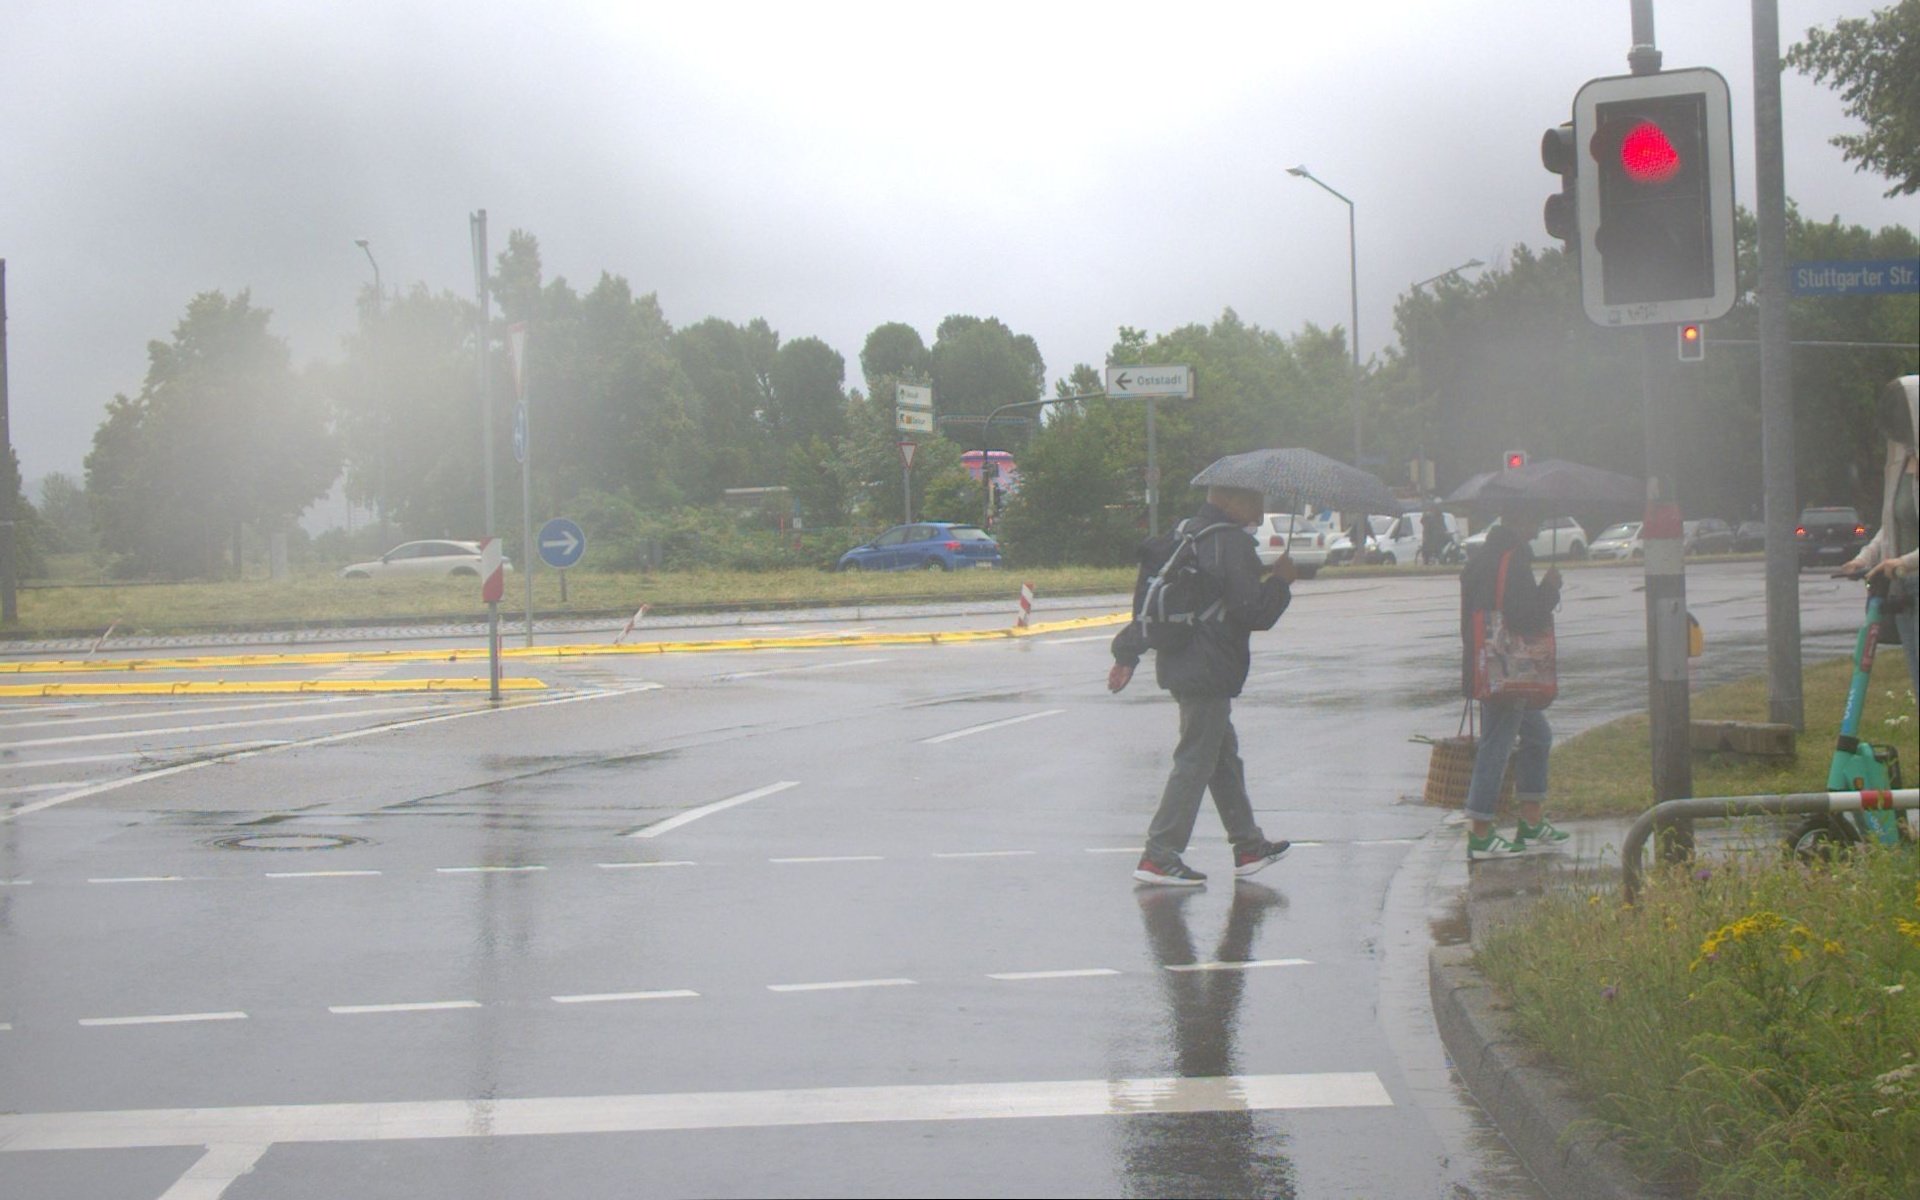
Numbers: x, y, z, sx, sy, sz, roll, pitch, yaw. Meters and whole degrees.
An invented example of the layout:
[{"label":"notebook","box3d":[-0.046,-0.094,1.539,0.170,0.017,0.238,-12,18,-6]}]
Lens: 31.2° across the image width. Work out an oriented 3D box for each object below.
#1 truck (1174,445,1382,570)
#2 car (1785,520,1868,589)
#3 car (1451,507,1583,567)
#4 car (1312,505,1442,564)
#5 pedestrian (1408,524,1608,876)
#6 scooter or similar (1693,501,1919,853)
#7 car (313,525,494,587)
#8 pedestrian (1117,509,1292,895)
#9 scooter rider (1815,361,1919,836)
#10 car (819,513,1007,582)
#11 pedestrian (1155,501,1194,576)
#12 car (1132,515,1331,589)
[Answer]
[{"label":"truck","box3d":[7.459,-2.081,79.519,2.464,2.677,8.049,1,0,23]},{"label":"car","box3d":[19.227,-1.022,76.386,1.619,1.449,3.986,-1,1,12]},{"label":"car","box3d":[16.454,-1.851,101.411,1.800,1.656,4.399,1,0,41]},{"label":"car","box3d":[12.340,-1.920,101.552,1.800,1.656,4.124,1,0,41]},{"label":"pedestrian","box3d":[2.347,0.418,14.763,0.680,1.456,0.573,-2,0,-4]},{"label":"scooter or similar","box3d":[3.538,0.283,12.605,1.585,1.255,0.447,1,0,-6]},{"label":"car","box3d":[-13.706,-1.088,84.784,4.100,1.449,1.623,-1,1,7]},{"label":"pedestrian","box3d":[0.982,0.397,13.946,0.621,1.517,0.741,1,1,-2]},{"label":"scooter rider","box3d":[3.491,-0.014,12.600,0.531,1.703,0.434,-2,1,-6]},{"label":"car","box3d":[-1.050,-1.151,76.189,3.983,1.449,1.620,0,2,37]},{"label":"pedestrian","box3d":[3.736,-1.072,59.873,0.453,1.300,0.485,0,1,39]},{"label":"car","box3d":[5.549,-0.972,70.590,1.619,1.449,3.985,-2,2,-44]}]
